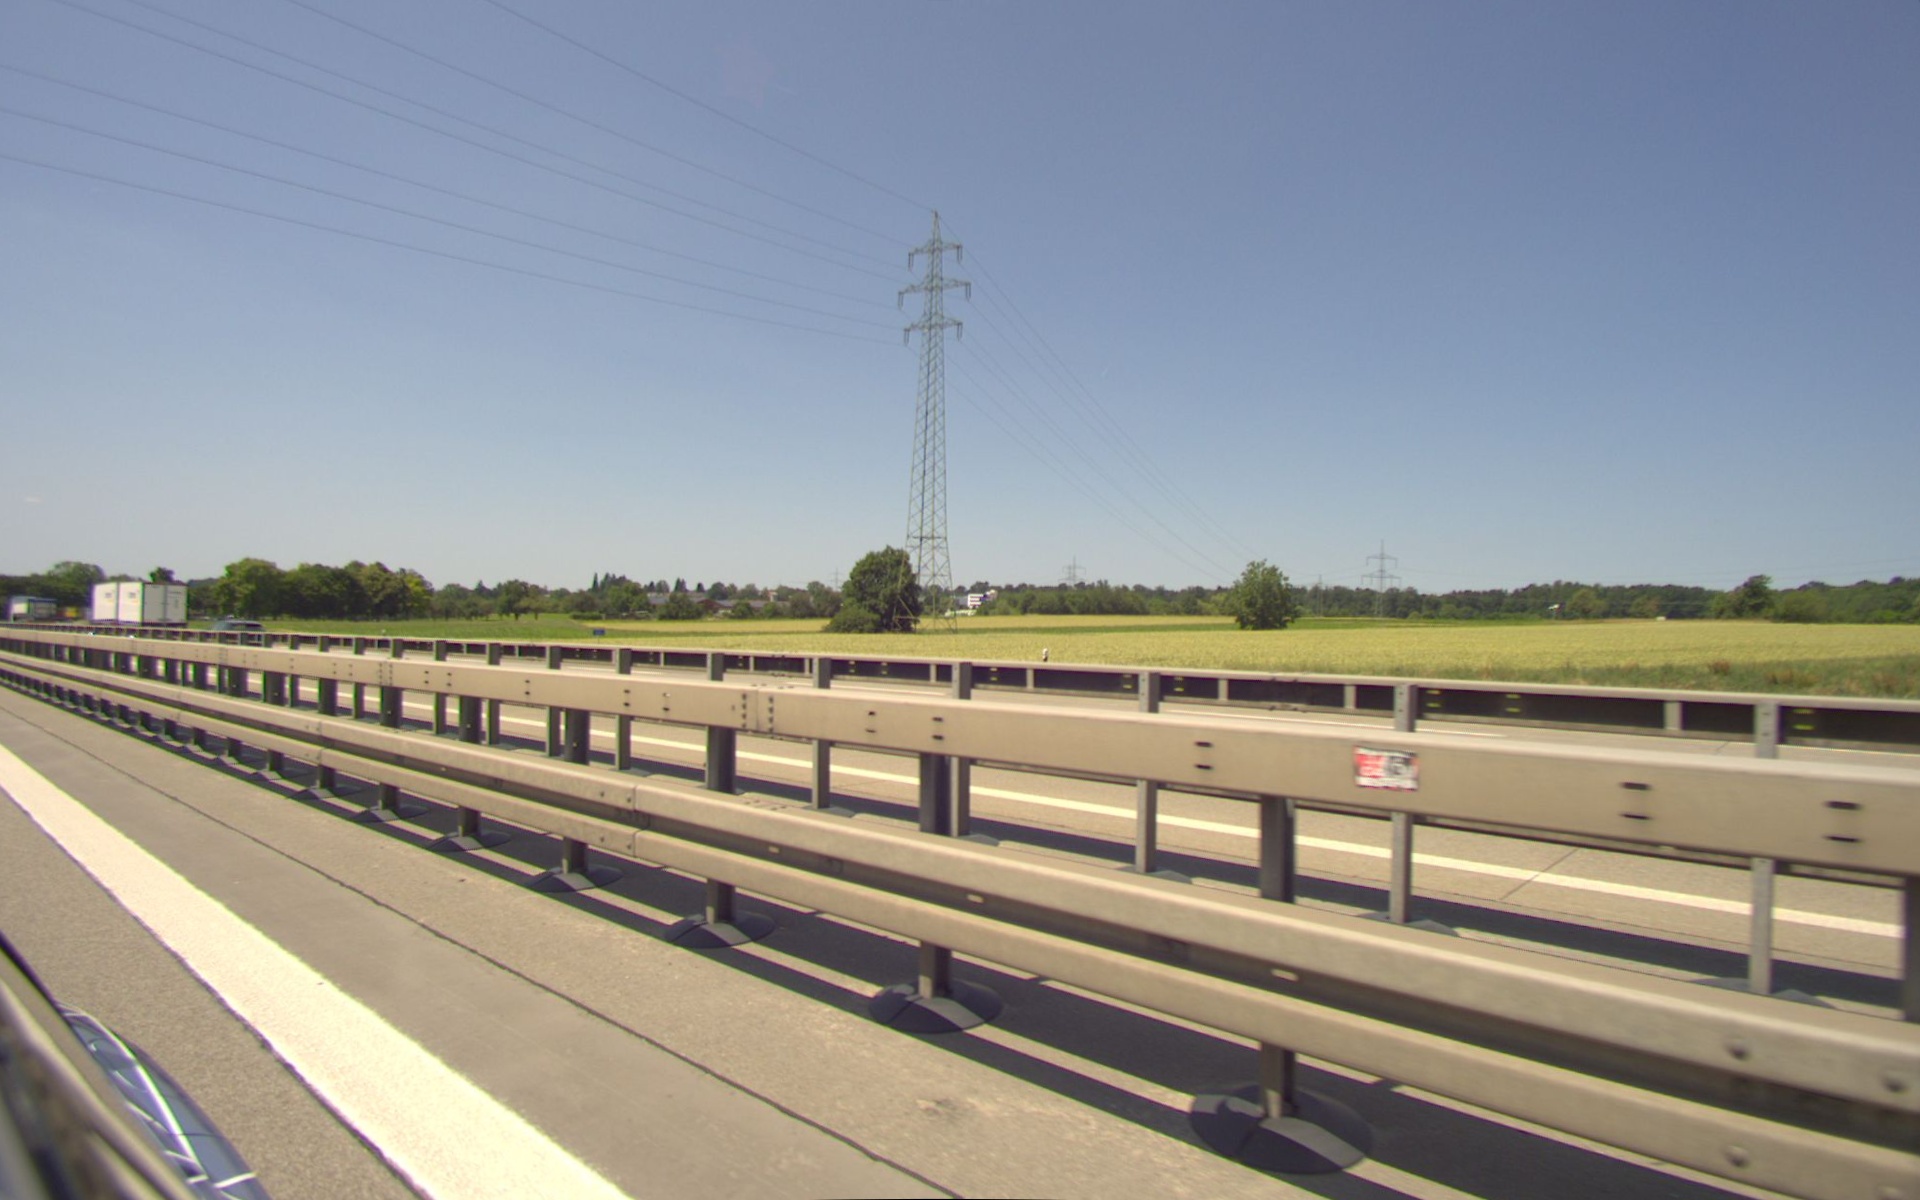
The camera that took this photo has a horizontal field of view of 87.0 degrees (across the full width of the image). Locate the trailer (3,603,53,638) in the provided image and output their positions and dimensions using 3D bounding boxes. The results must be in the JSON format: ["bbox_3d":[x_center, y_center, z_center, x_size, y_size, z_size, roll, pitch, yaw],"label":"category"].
[{"bbox_3d":[-104.943,2.264,113.847,11.349,3.720,2.680,-1,0,40],"label":"trailer"}]

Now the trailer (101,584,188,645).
[{"bbox_3d":[-58.248,0.987,72.122,11.659,4.076,2.803,-1,0,41],"label":"trailer"}]

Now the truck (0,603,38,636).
[{"bbox_3d":[-109.465,2.273,117.579,6.051,3.718,2.691,-1,0,40],"label":"truck"}]

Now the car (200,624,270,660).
[{"bbox_3d":[-30.194,1.733,42.145,3.606,1.436,1.467,-2,-4,40],"label":"car"}]

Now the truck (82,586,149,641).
[{"bbox_3d":[-65.484,1.008,78.403,7.527,4.120,2.792,-1,0,41],"label":"truck"}]
